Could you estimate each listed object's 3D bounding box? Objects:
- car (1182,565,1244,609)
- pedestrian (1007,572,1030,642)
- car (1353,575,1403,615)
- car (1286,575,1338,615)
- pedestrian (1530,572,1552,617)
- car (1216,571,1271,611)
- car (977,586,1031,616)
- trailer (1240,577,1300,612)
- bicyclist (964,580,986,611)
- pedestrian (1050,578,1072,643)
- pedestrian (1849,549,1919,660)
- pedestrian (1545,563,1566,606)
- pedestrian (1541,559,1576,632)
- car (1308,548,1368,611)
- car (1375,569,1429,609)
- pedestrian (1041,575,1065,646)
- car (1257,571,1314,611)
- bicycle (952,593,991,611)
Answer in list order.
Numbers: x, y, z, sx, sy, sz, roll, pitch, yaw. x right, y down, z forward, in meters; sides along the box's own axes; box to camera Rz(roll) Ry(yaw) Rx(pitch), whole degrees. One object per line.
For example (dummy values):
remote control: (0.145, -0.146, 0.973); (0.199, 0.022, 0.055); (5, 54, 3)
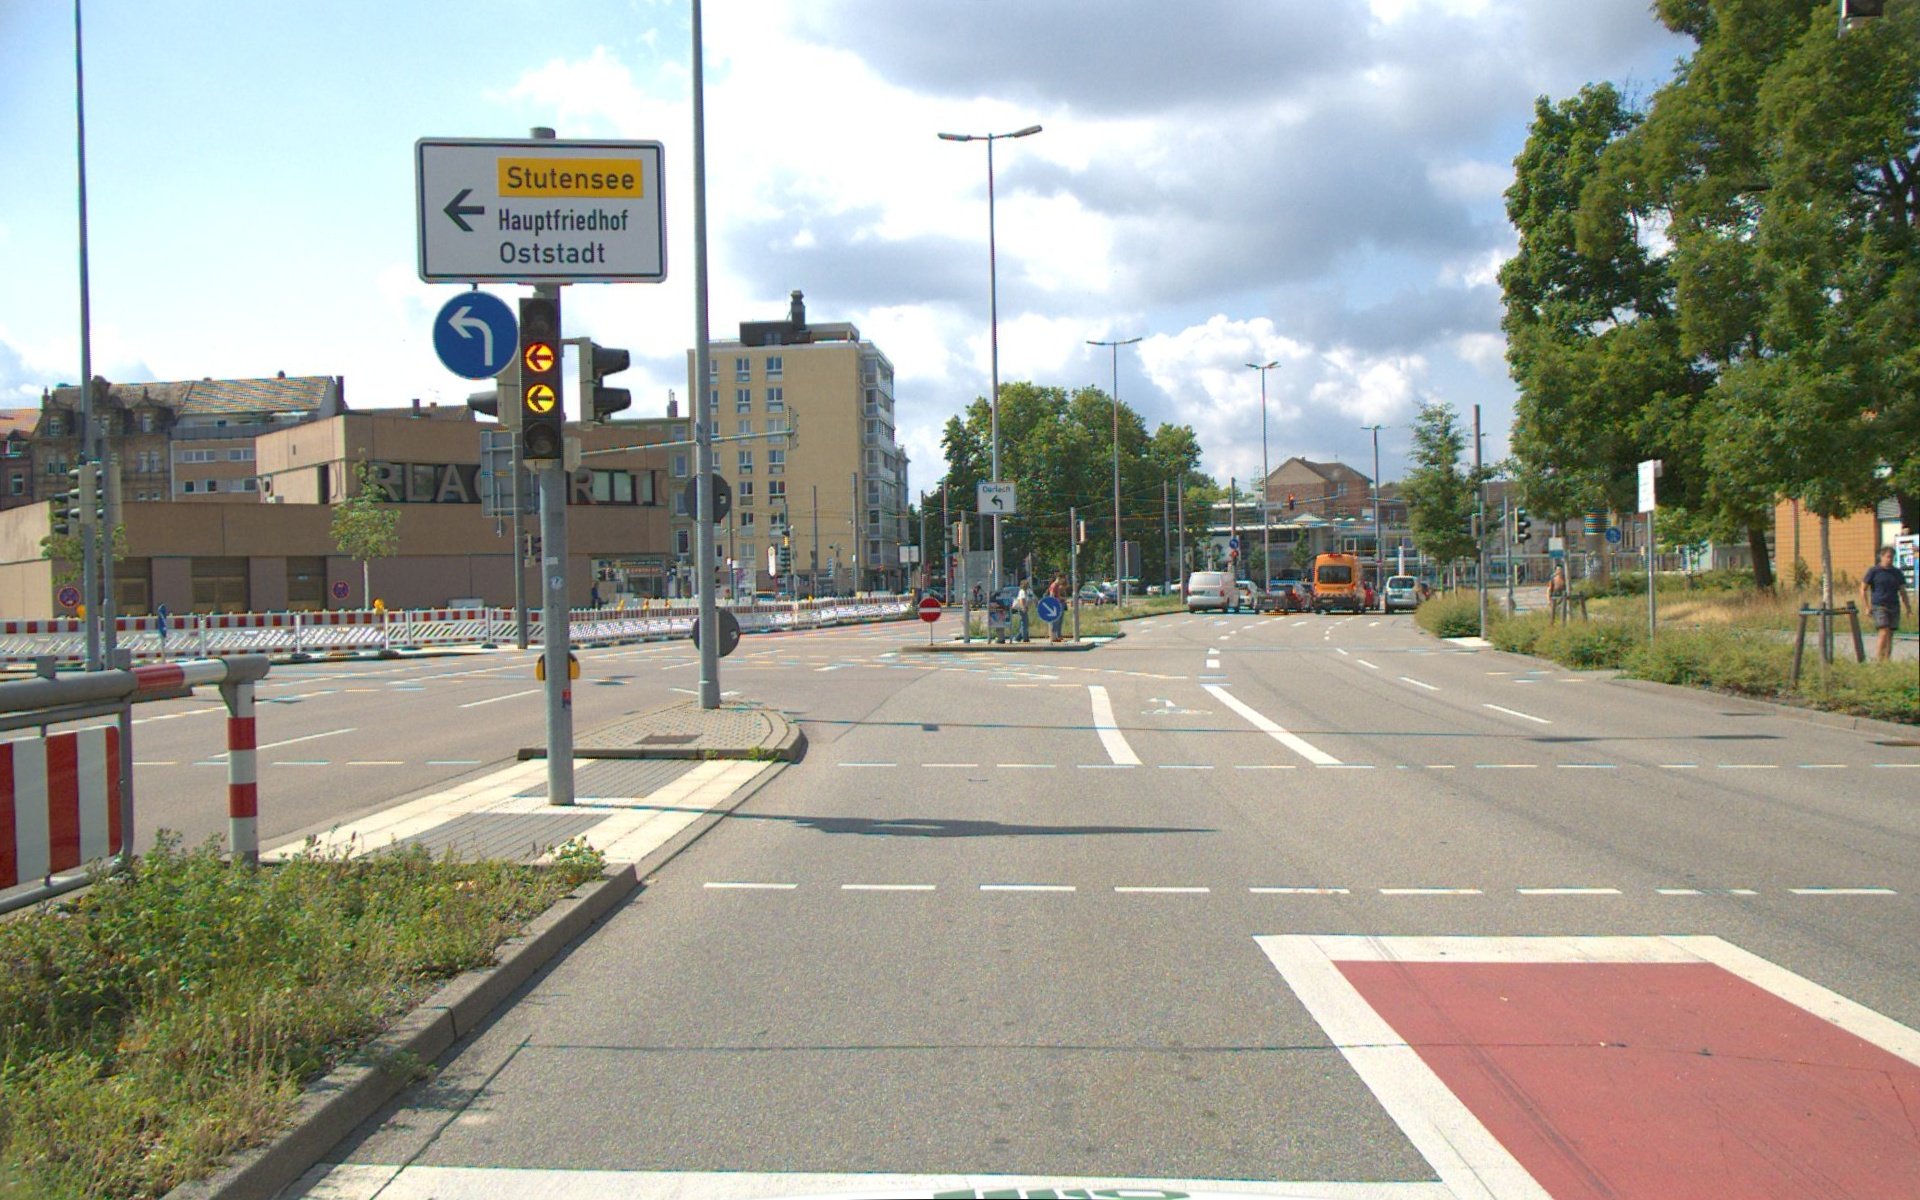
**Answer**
car: (12.324, -0.645, 80.284); (1.964, 2.001, 4.639); (-2, 0, 21)
pedestrian: (1.508, 0.166, 42.424); (0.513, 1.763, 0.624); (-1, 0, 7)
car: (21.874, -0.285, 86.510); (1.950, 1.972, 4.639); (-2, 0, 21)
car: (18.610, -0.274, 87.333); (1.950, 1.972, 4.639); (-2, 0, 21)
pedestrian: (23.457, -0.226, 66.808); (0.771, 1.815, 0.667); (-1, 0, 18)
car: (15.071, -0.494, 87.749); (1.950, 1.972, 4.639); (-2, 0, 21)
car: (2.187, 0.024, 81.048); (1.754, 1.412, 4.231); (-1, 0, 14)
trailer: (14.551, -0.258, 77.583); (1.953, 1.503, 4.000); (-2, 0, 22)
bicyclist: (0.961, -0.297, 105.225); (1.194, 1.943, 0.859); (-1, 0, 18)
pedestrian: (2.669, 0.274, 43.743); (0.513, 1.713, 0.624); (-1, 0, 7)
pedestrian: (13.137, 0.062, 23.439); (0.754, 1.534, 0.552); (-1, 0, 2)
pedestrian: (25.800, -0.664, 71.646); (0.773, 1.815, 0.666); (-1, 0, 28)
pedestrian: (14.770, -0.119, 40.843); (0.646, 1.763, 0.578); (-1, 0, 5)
car: (17.953, -0.962, 78.425); (2.086, 2.829, 4.639); (-2, 0, 21)
car: (21.142, -0.541, 79.068); (1.953, 1.826, 4.000); (-2, 0, 23)
pedestrian: (2.334, 0.251, 41.444); (0.513, 1.763, 0.624); (-1, 0, 7)
car: (15.989, -0.444, 81.066); (1.953, 1.858, 4.000); (-2, 0, 22)
bicycle: (0.742, 0.137, 105.292); (2.329, 1.085, 0.859); (-1, 0, 18)
